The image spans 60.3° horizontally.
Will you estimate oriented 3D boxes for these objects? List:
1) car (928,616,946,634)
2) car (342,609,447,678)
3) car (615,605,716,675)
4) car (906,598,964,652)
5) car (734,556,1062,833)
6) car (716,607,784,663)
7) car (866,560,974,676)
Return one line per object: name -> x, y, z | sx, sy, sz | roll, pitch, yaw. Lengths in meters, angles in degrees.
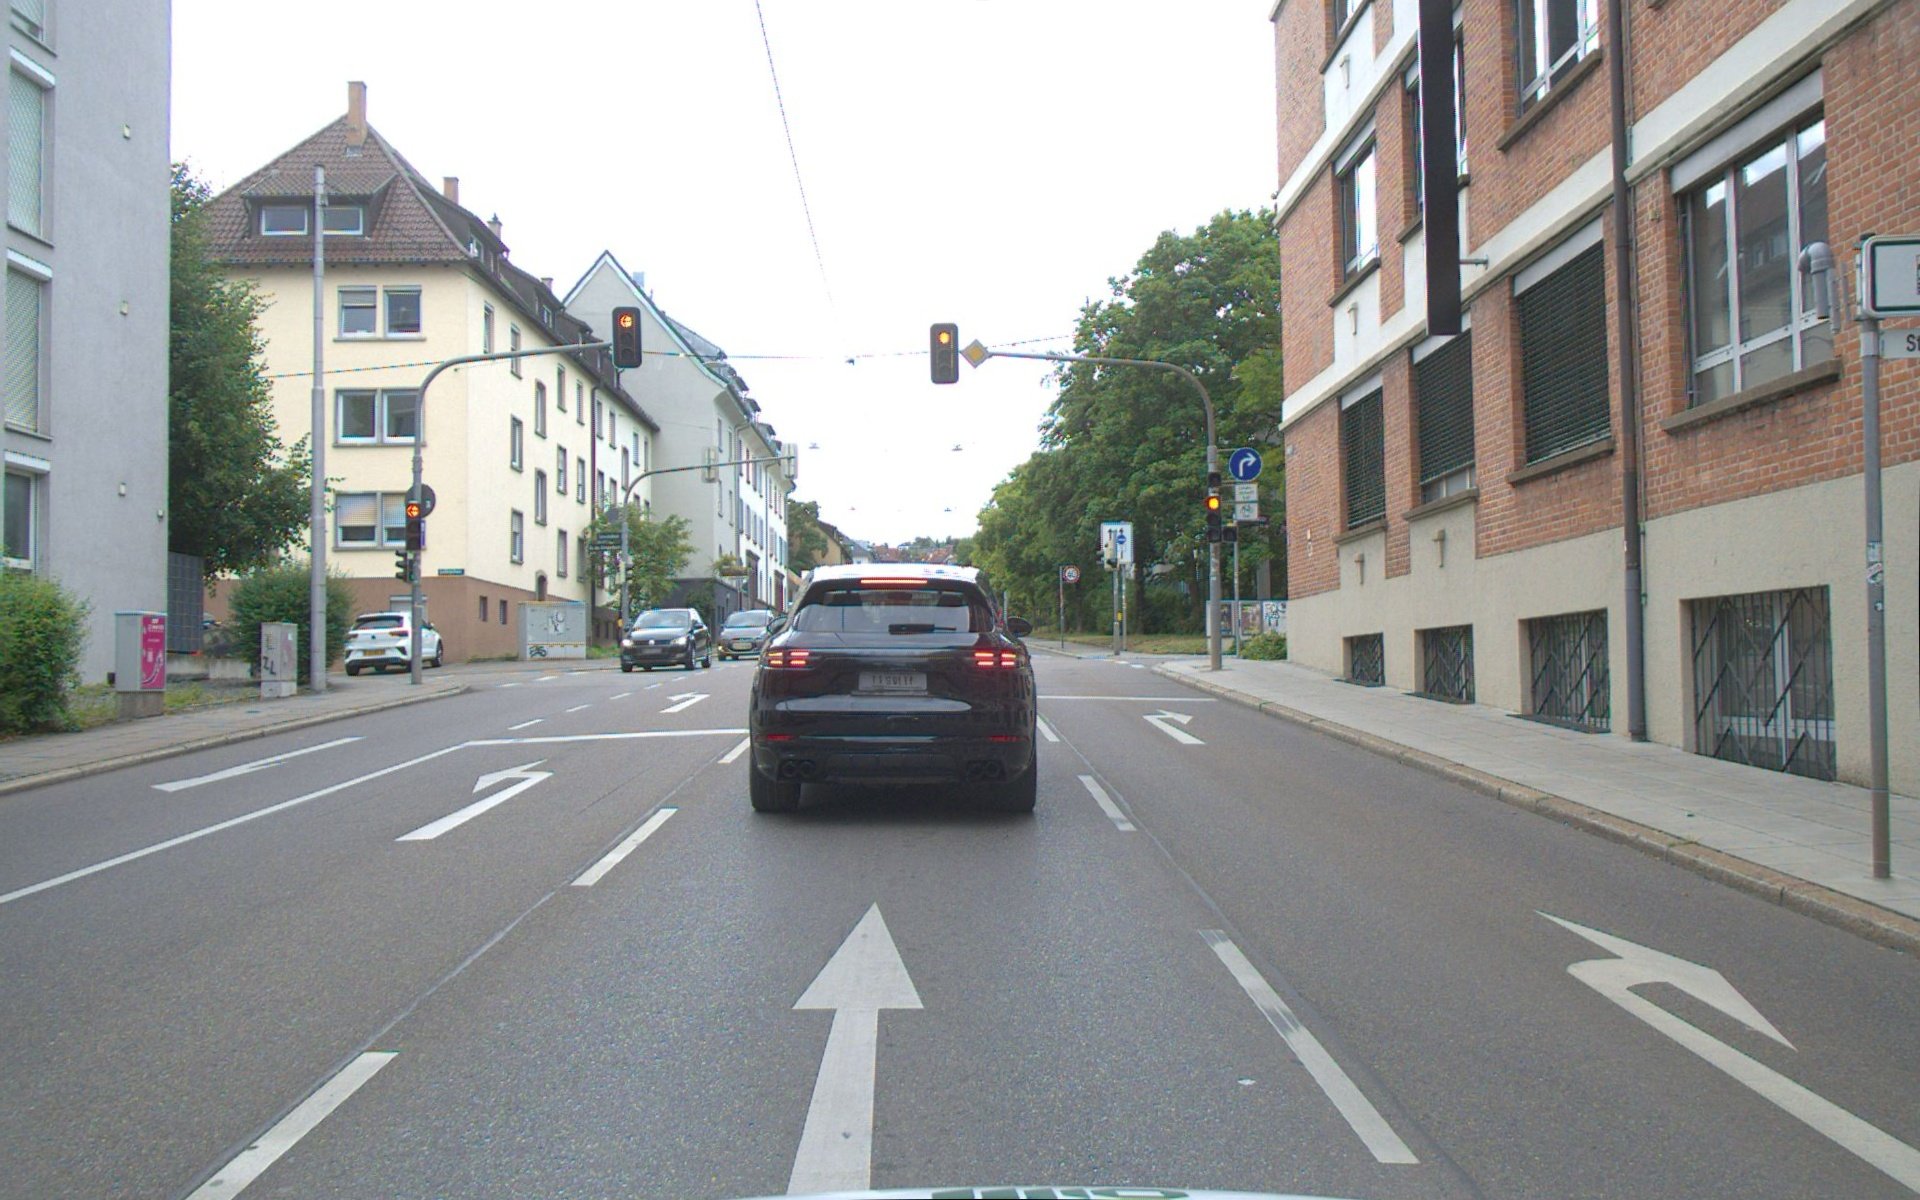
car -> -2.255, 2.453, 163.313 | 1.790, 1.633, 4.134 | 1, 0, 0
car -> -14.863, 1.104, 43.625 | 1.658, 1.582, 3.762 | -3, 1, -5
car -> -6.780, 0.888, 38.396 | 1.639, 1.424, 3.794 | -3, 1, -1
car -> -0.785, 0.780, 53.731 | 1.790, 1.633, 4.134 | 1, 0, 0
car -> -0.397, 0.572, 12.393 | 2.006, 1.695, 4.266 | 1, 0, -1
car -> -6.844, 1.103, 54.199 | 1.669, 1.614, 3.936 | -3, 1, -1
car -> -0.742, 0.306, 31.974 | 1.925, 2.078, 4.134 | 1, 0, -1
